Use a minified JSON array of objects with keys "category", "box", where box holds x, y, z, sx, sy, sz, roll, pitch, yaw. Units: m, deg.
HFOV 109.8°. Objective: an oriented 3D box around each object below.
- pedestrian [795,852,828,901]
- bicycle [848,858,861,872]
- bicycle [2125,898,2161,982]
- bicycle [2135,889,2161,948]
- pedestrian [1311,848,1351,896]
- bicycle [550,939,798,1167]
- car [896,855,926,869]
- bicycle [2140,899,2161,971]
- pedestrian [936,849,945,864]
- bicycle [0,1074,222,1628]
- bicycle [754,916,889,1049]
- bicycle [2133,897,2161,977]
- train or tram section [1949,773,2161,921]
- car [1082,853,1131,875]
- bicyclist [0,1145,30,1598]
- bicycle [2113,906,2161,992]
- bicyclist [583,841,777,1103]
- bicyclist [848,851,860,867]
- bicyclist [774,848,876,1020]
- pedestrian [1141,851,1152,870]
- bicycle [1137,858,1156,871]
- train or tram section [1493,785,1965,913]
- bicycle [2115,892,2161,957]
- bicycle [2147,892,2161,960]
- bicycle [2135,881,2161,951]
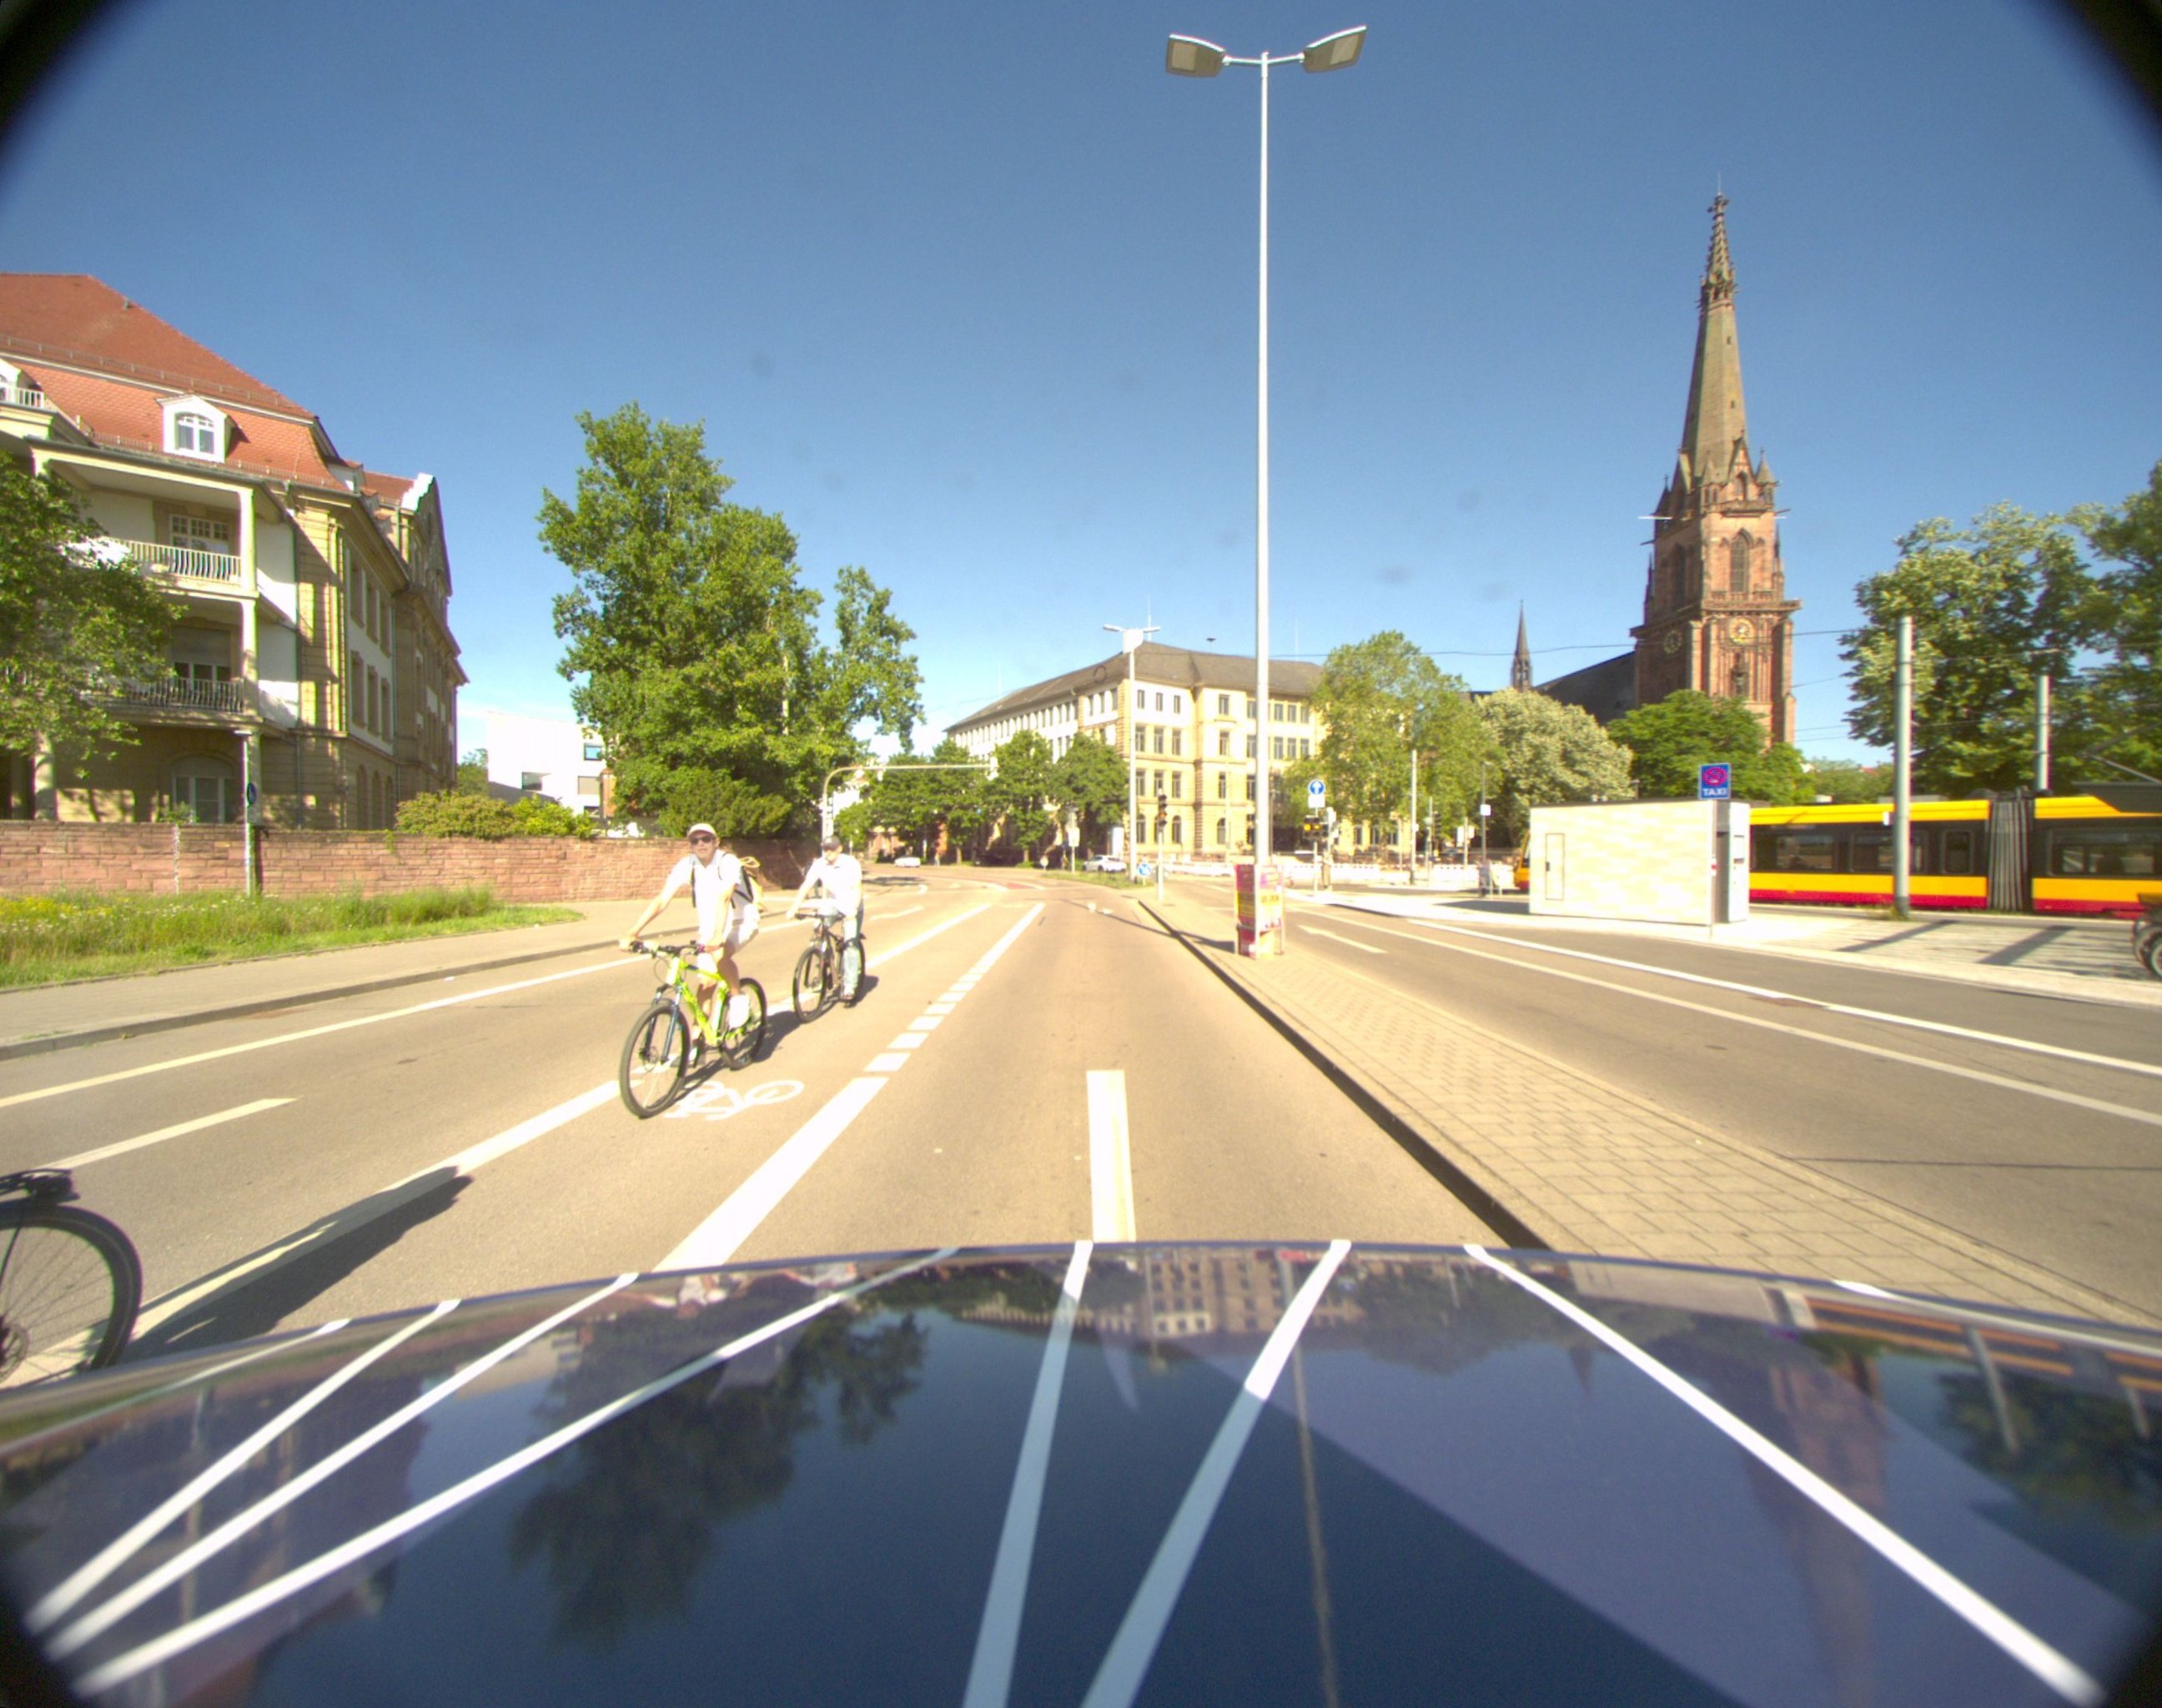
[{"category":"pedestrian","box":[-10.550,0.863,29.781,0.729,1.839,0.963,2,1,22]},{"category":"bicycle","box":[-22.233,1.068,74.598,0.763,1.360,2.732,-1,1,-25]},{"category":"bicycle","box":[14.662,1.142,9.512,0.630,1.059,1.826,-1,1,-32]},{"category":"bicycle","box":[19.516,1.142,12.907,0.630,1.001,1.826,-1,1,-32]},{"category":"pedestrian","box":[9.619,0.678,29.272,1.229,1.845,0.827,0,1,-5]},{"category":"bicycle","box":[-2.636,1.229,5.208,0.673,1.044,1.843,-2,1,0]},{"category":"car","box":[-19.507,0.880,87.008,1.853,1.477,4.154,-1,1,-35]},{"category":"bicycle","box":[16.169,1.175,10.450,0.630,1.001,1.826,-1,1,-32]},{"category":"pedestrian","box":[-17.644,0.319,95.575,0.759,1.802,0.977,-1,1,-40]},{"category":"bicycle","box":[-2.769,1.203,1.250,0.616,1.131,1.826,-1,1,-1]},{"category":"bicycle","box":[-2.593,1.242,7.846,0.749,1.044,1.903,0,1,-1]},{"category":"bicycle","box":[15.132,1.129,9.777,0.574,1.045,1.826,-1,1,-32]},{"category":"train or tram section","box":[28.858,-0.158,16.920,2.806,3.580,12.294,-1,1,-35]},{"category":"car","box":[1.836,0.740,56.425,1.850,1.543,4.326,1,1,-24]},{"category":"bicyclist","box":[-2.801,0.806,1.265,0.678,1.775,0.939,-2,1,-1]},{"category":"bicycle","box":[13.921,1.218,9.039,0.702,1.002,1.863,-1,2,-32]},{"category":"bicyclist","box":[-2.656,0.719,5.170,0.676,1.574,1.081,-2,1,0]},{"category":"bicyclist","box":[-22.297,0.483,74.697,0.871,1.551,1.277,-1,1,-27]},{"category":"bicyclist","box":[-2.593,0.771,7.784,0.742,1.664,0.865,0,1,-1]},{"category":"pedestrian","box":[5.118,0.505,59.602,0.596,1.394,0.644,-3,1,-24]},{"category":"bicycle","box":[5.125,0.805,59.620,0.601,1.000,1.984,-3,1,-25]},{"category":"train or tram section","box":[21.779,-0.169,27.125,2.806,3.580,12.504,-1,1,-35]},{"category":"bicycle","box":[17.803,1.153,11.911,0.630,1.001,1.826,-1,1,-32]},{"category":"bicycle","box":[17.156,1.114,11.075,0.630,1.001,1.826,-1,1,-32]},{"category":"bicycle","box":[18.937,1.064,12.499,0.630,1.172,1.826,-1,1,-32]}]
